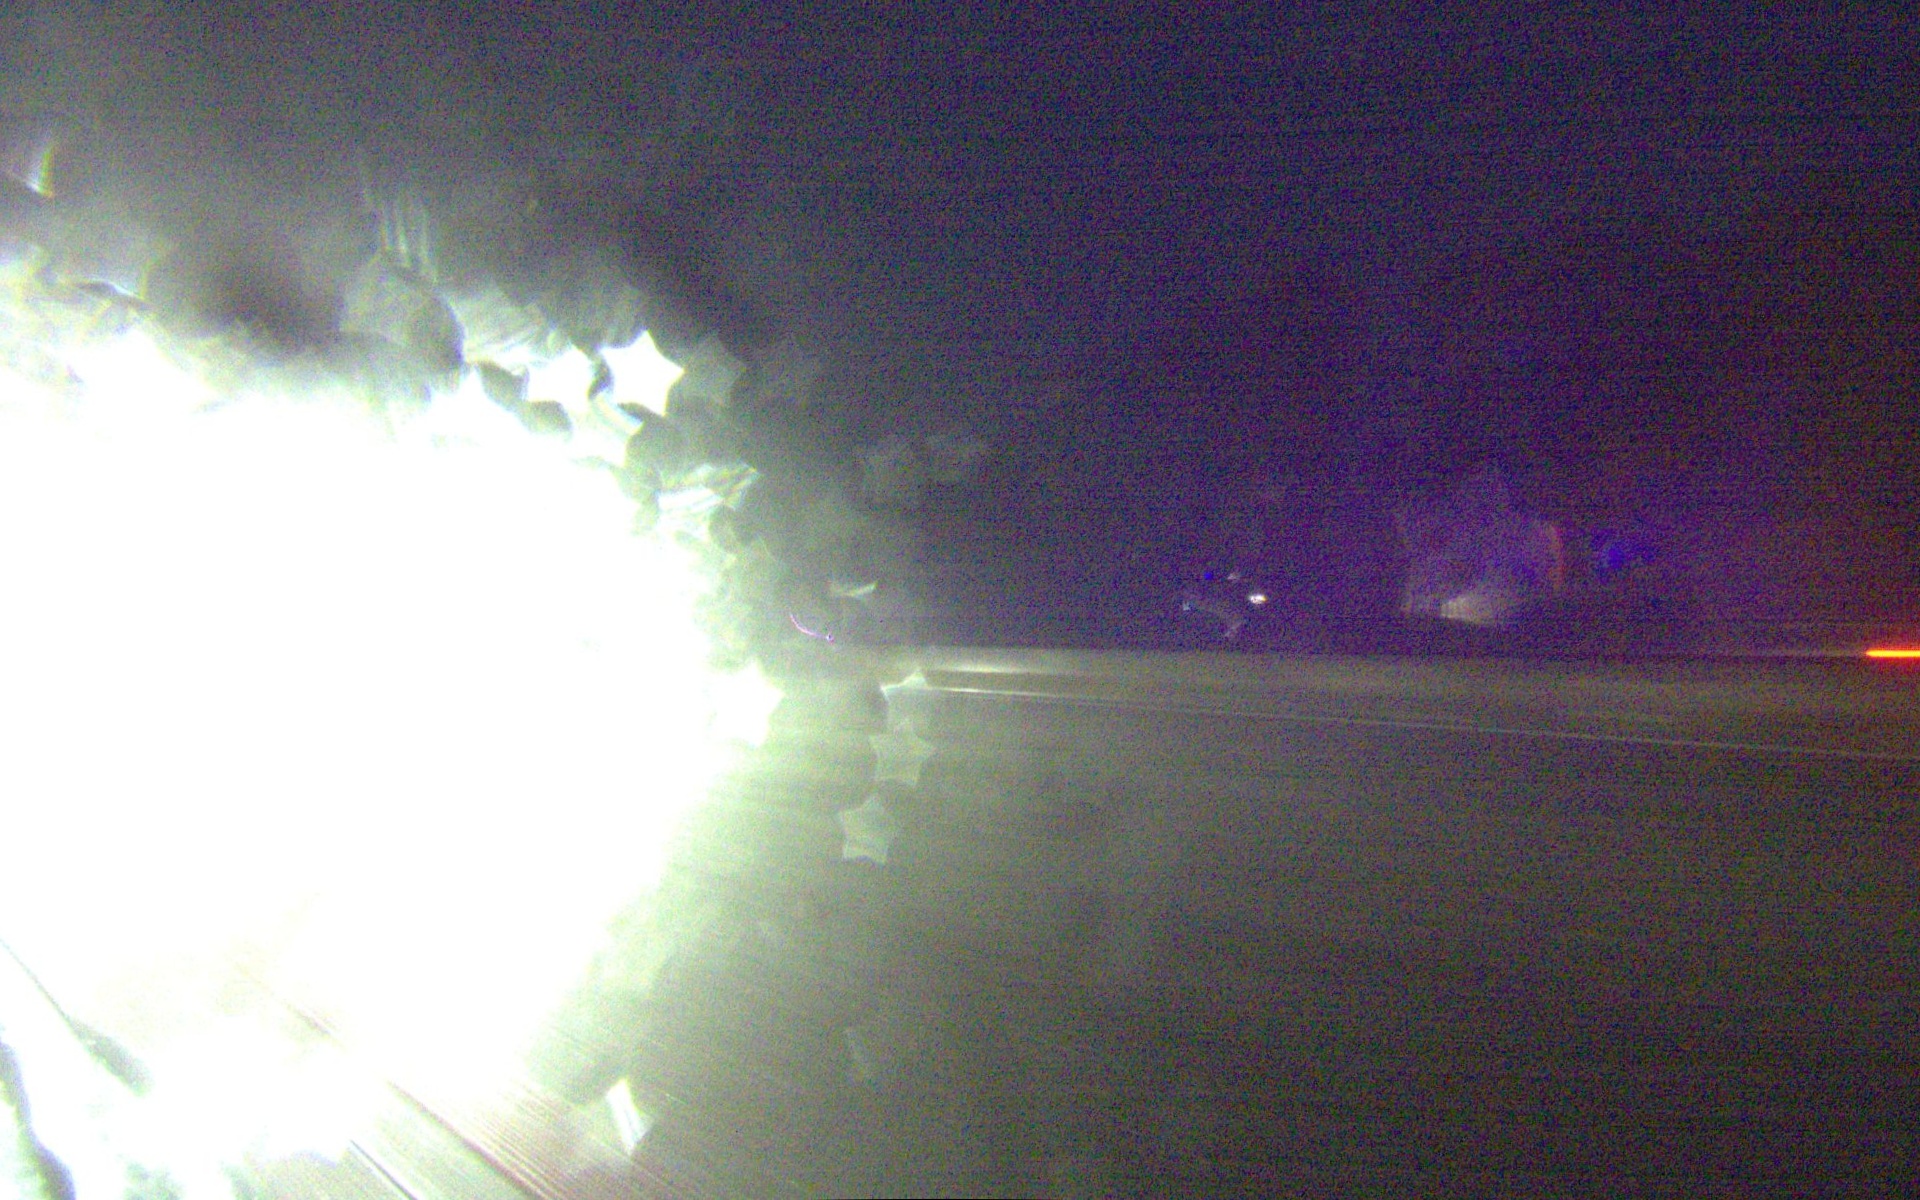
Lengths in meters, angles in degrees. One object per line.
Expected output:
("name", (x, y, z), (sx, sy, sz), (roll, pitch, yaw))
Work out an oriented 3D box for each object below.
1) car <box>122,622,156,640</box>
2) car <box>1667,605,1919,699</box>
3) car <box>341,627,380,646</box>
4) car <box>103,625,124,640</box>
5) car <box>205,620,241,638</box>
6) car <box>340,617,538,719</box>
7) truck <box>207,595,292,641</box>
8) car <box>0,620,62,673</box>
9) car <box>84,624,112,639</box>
("car", (-73.351, 2.723, 90.397), (3.813, 1.515, 1.661), (-1, 0, 41))
("car", (15.122, 0.865, 17.747), (4.323, 1.481, 1.673), (-1, 0, 41))
("car", (-49.720, 3.002, 83.945), (3.930, 1.457, 1.625), (-1, 0, 41))
("car", (-109.390, 4.192, 130.801), (3.911, 1.818, 1.613), (-1, 0, 42))
("car", (-63.082, 2.484, 86.633), (3.930, 1.457, 1.625), (-1, 0, 41))
("car", (-8.725, 1.049, 16.786), (4.247, 1.441, 1.638), (-2, -1, 44))
("truck", (-75.663, 1.906, 107.555), (17.592, 4.593, 3.374), (-1, 0, 42))
("car", (-32.921, 1.610, 35.217), (4.913, 1.677, 1.935), (-2, -1, 41))
("car", (-87.569, 3.180, 102.789), (3.955, 1.441, 1.597), (-1, 0, 41))
